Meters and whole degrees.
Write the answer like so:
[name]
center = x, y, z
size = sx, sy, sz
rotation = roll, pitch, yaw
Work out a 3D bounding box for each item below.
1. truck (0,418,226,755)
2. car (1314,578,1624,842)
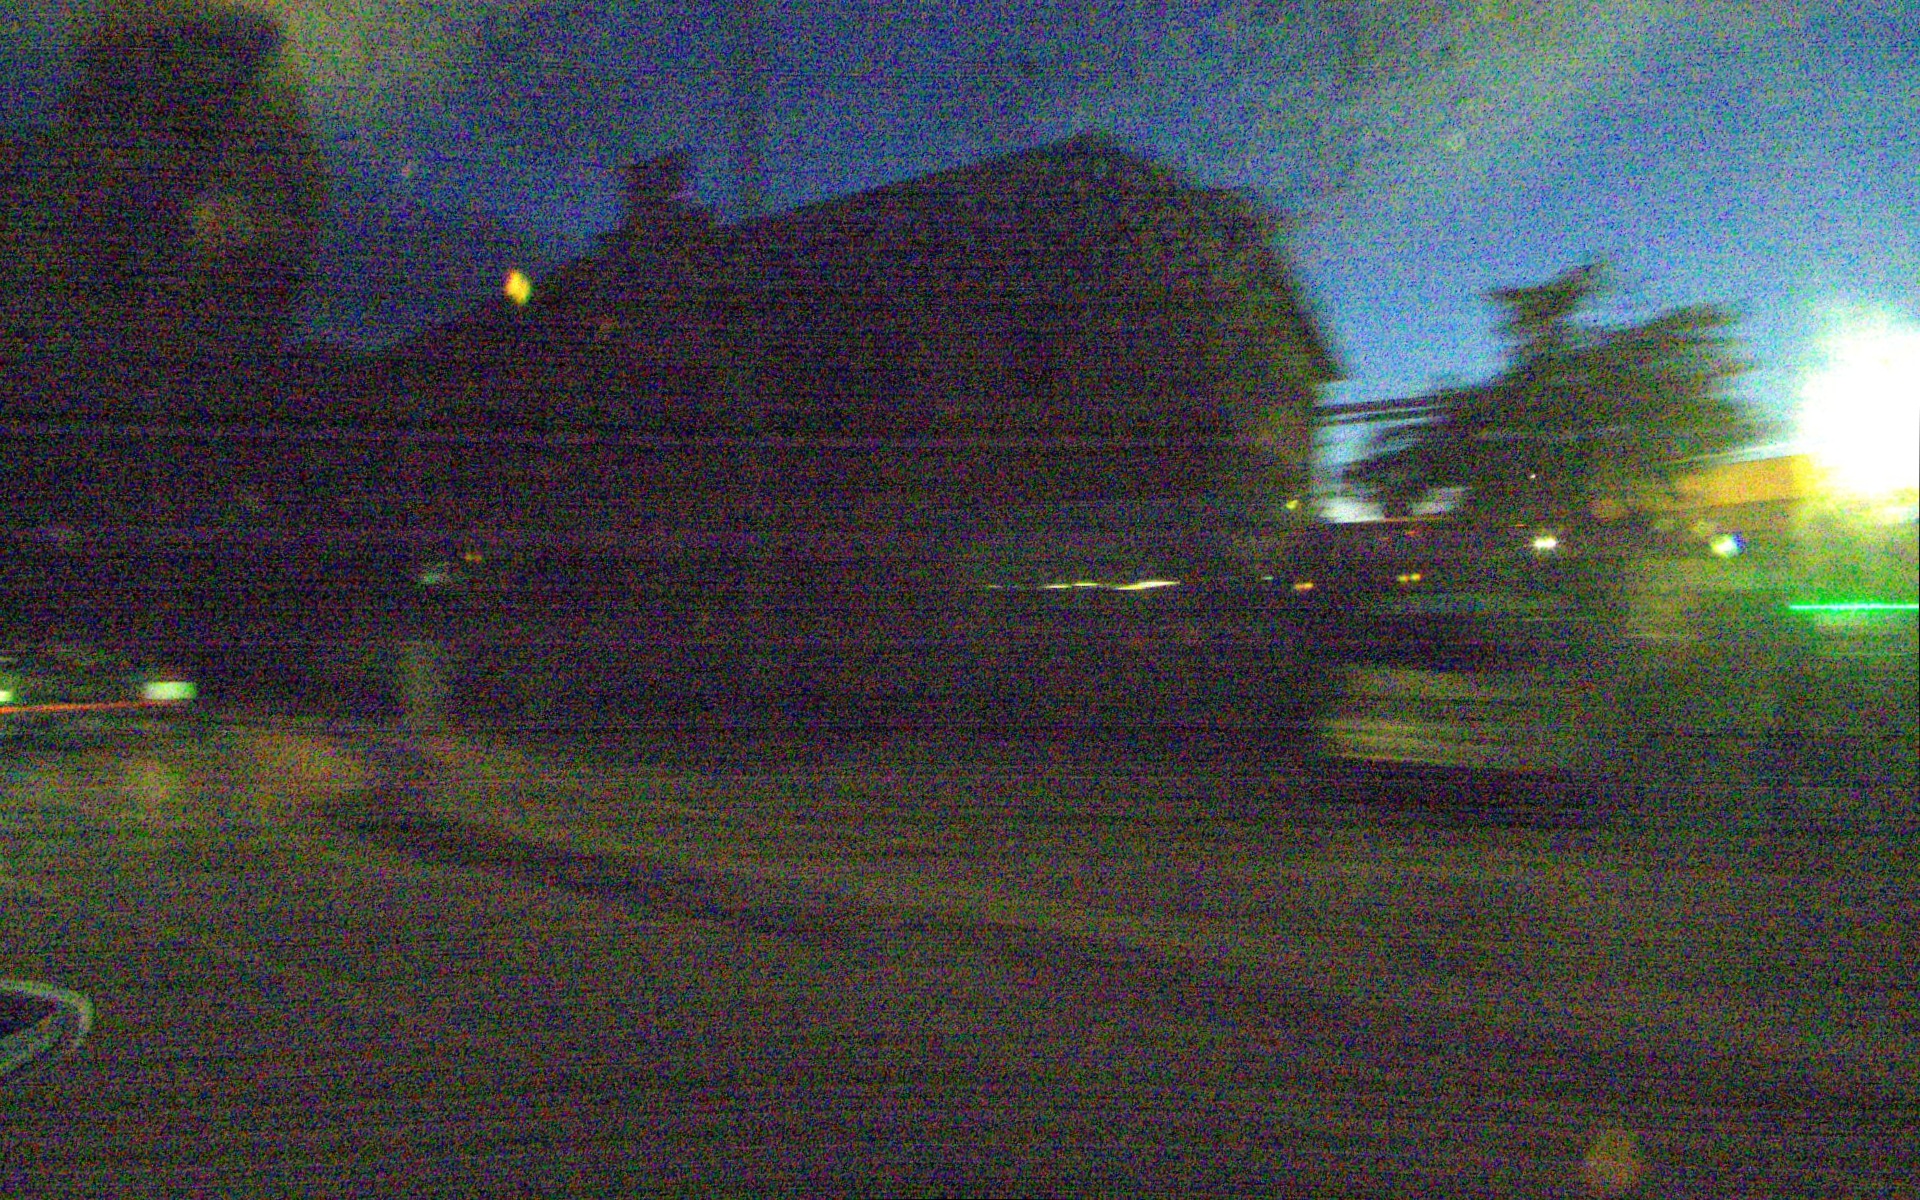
[truck]
center = -14.492, -0.093, 14.329
size = 8.993, 3.832, 2.754
rotation = -1, -1, 27
[car]
center = 4.331, 0.660, 8.745
size = 1.862, 1.669, 4.323
rotation = 0, 2, 26
